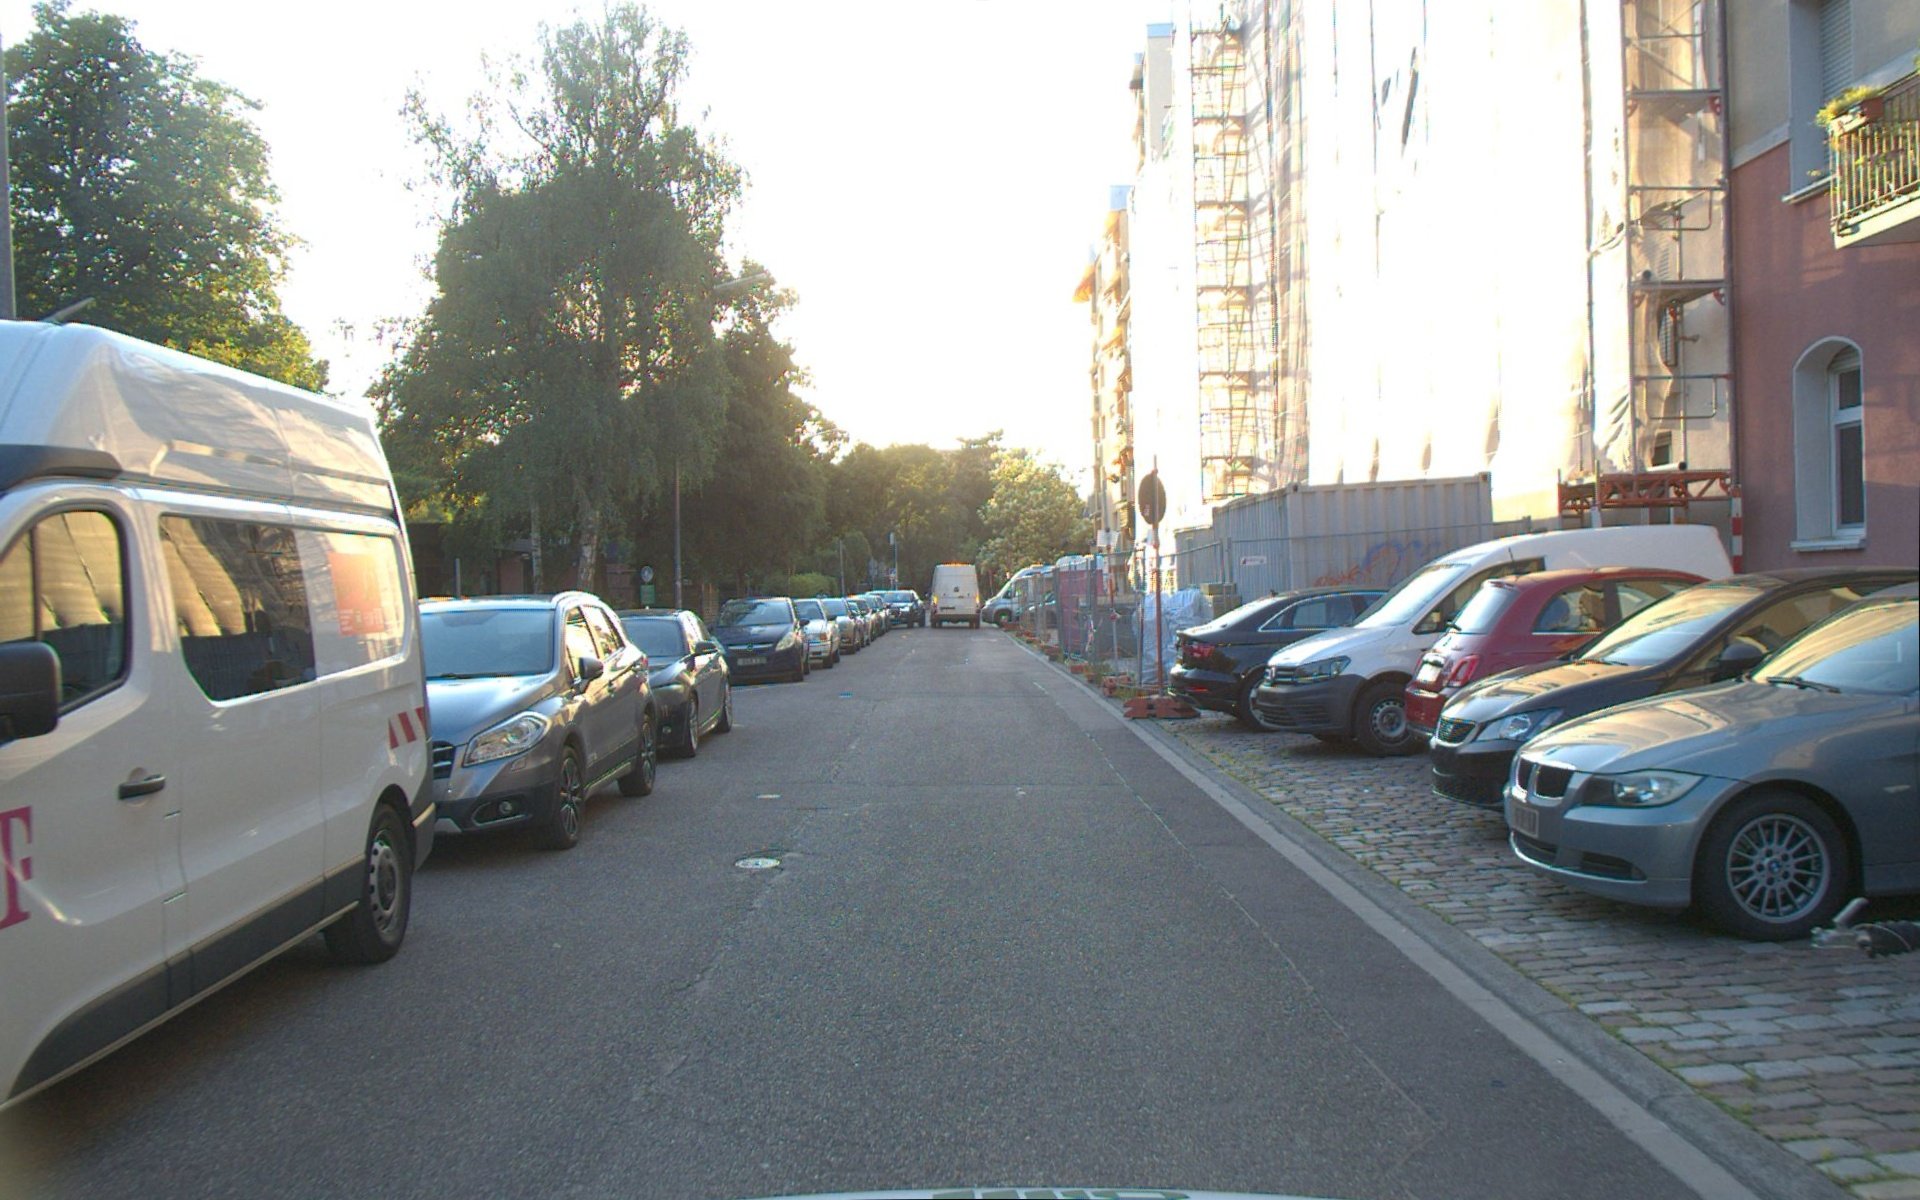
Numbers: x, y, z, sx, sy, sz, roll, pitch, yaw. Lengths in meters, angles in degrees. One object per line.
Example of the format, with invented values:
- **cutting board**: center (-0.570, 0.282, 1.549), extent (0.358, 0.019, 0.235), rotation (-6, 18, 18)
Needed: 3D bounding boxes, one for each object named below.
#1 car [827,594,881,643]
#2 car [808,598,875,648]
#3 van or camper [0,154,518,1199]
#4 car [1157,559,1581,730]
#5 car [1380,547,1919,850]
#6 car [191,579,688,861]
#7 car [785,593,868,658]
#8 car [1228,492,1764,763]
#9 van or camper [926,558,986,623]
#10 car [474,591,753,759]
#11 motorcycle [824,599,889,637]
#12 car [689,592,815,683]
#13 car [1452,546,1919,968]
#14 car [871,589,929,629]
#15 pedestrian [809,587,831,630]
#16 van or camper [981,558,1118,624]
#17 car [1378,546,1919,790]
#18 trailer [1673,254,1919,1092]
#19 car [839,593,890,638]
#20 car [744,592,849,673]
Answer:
- **car**: center (-3.477, 0.584, 54.671), extent (1.569, 1.456, 3.802), rotation (-4, 0, -2)
- **car**: center (-3.463, 0.642, 48.975), extent (1.625, 1.336, 4.154), rotation (-3, 0, 0)
- **van or camper**: center (-3.290, 0.181, 5.626), extent (1.953, 2.499, 6.082), rotation (-1, 0, -1)
- **car**: center (4.255, 0.446, 17.706), extent (4.067, 1.644, 1.872), rotation (-1, 0, 1)
- **car**: center (4.740, 0.512, 10.022), extent (3.885, 1.599, 1.788), rotation (-1, 0, -4)
- **car**: center (-3.302, 0.657, 11.636), extent (1.953, 1.545, 4.789), rotation (-1, 0, 0)
- **car**: center (-3.471, 0.626, 43.687), extent (1.822, 1.564, 4.758), rotation (-2, 0, -1)
- **car**: center (4.768, 0.192, 15.006), extent (4.187, 2.014, 1.819), rotation (-4, 1, -8)
- **van or camper**: center (-0.164, -0.402, 70.614), extent (2.403, 2.591, 6.083), rotation (1, 0, 0)
- **car**: center (-3.406, 0.667, 17.119), extent (1.953, 1.478, 4.288), rotation (-1, 0, 0)
- **motorcycle**: center (-3.631, 0.634, 57.947), extent (2.118, 1.326, 0.880), rotation (0, 0, 14)
- **car**: center (-3.643, 0.614, 29.582), extent (1.954, 1.478, 3.997), rotation (-1, 0, -3)
- **car**: center (4.555, 0.594, 7.715), extent (3.908, 1.666, 1.902), rotation (-1, 0, -4)
- **car**: center (-2.531, 0.376, 71.097), extent (1.766, 1.596, 4.569), rotation (-2, 0, 7)
- **pedestrian**: center (-6.104, 0.371, 72.325), extent (0.919, 1.862, 0.786), rotation (0, 0, -2)
- **van or camper**: center (3.854, -0.400, 72.132), extent (5.808, 2.818, 2.109), rotation (0, 0, -2)
- **car**: center (5.230, 0.470, 12.577), extent (3.618, 1.638, 1.744), rotation (-1, 0, -3)
- **trailer**: center (4.429, 0.119, 5.107), extent (3.497, 2.377, 1.939), rotation (-4, 0, -4)
- **car**: center (-3.513, 0.530, 61.142), extent (1.681, 1.522, 4.359), rotation (-3, 0, -2)
- **car**: center (-3.391, 0.635, 35.157), extent (1.746, 1.470, 4.747), rotation (-4, 0, -1)
